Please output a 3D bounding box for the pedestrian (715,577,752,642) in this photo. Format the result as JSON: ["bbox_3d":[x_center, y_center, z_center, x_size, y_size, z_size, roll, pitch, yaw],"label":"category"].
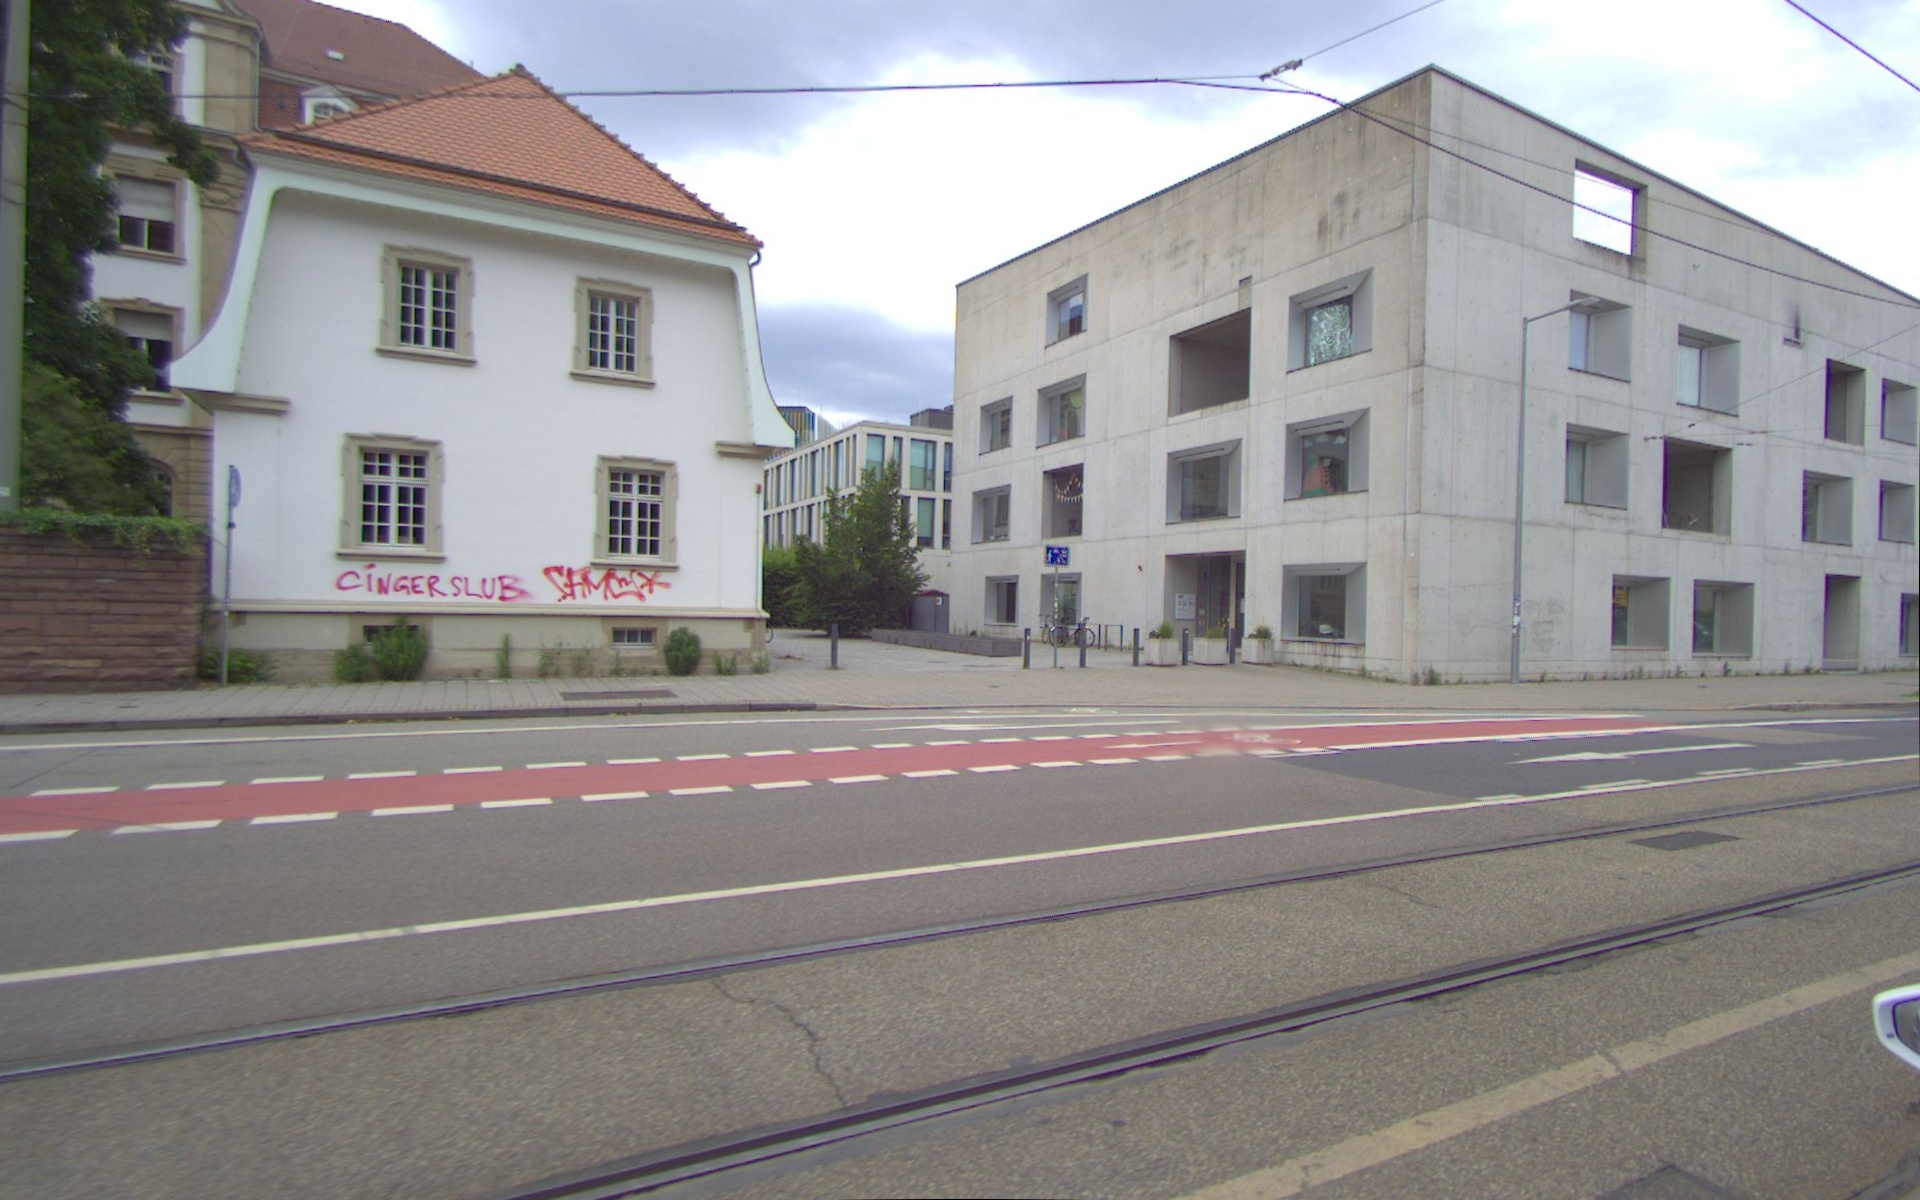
[{"bbox_3d":[-6.864,0.277,30.425,0.680,1.910,0.751,2,-1,43],"label":"pedestrian"}]

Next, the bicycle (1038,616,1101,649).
[{"bbox_3d":[3.617,1.072,33.078,2.065,1.032,0.659,2,0,-28],"label":"bicycle"}]

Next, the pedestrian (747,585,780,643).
[{"bbox_3d":[-6.227,0.440,31.781,0.680,1.804,0.639,2,-2,43],"label":"pedestrian"}]

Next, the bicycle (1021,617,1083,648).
[{"bbox_3d":[3.087,1.097,33.776,2.066,1.026,0.658,2,0,-30],"label":"bicycle"}]
